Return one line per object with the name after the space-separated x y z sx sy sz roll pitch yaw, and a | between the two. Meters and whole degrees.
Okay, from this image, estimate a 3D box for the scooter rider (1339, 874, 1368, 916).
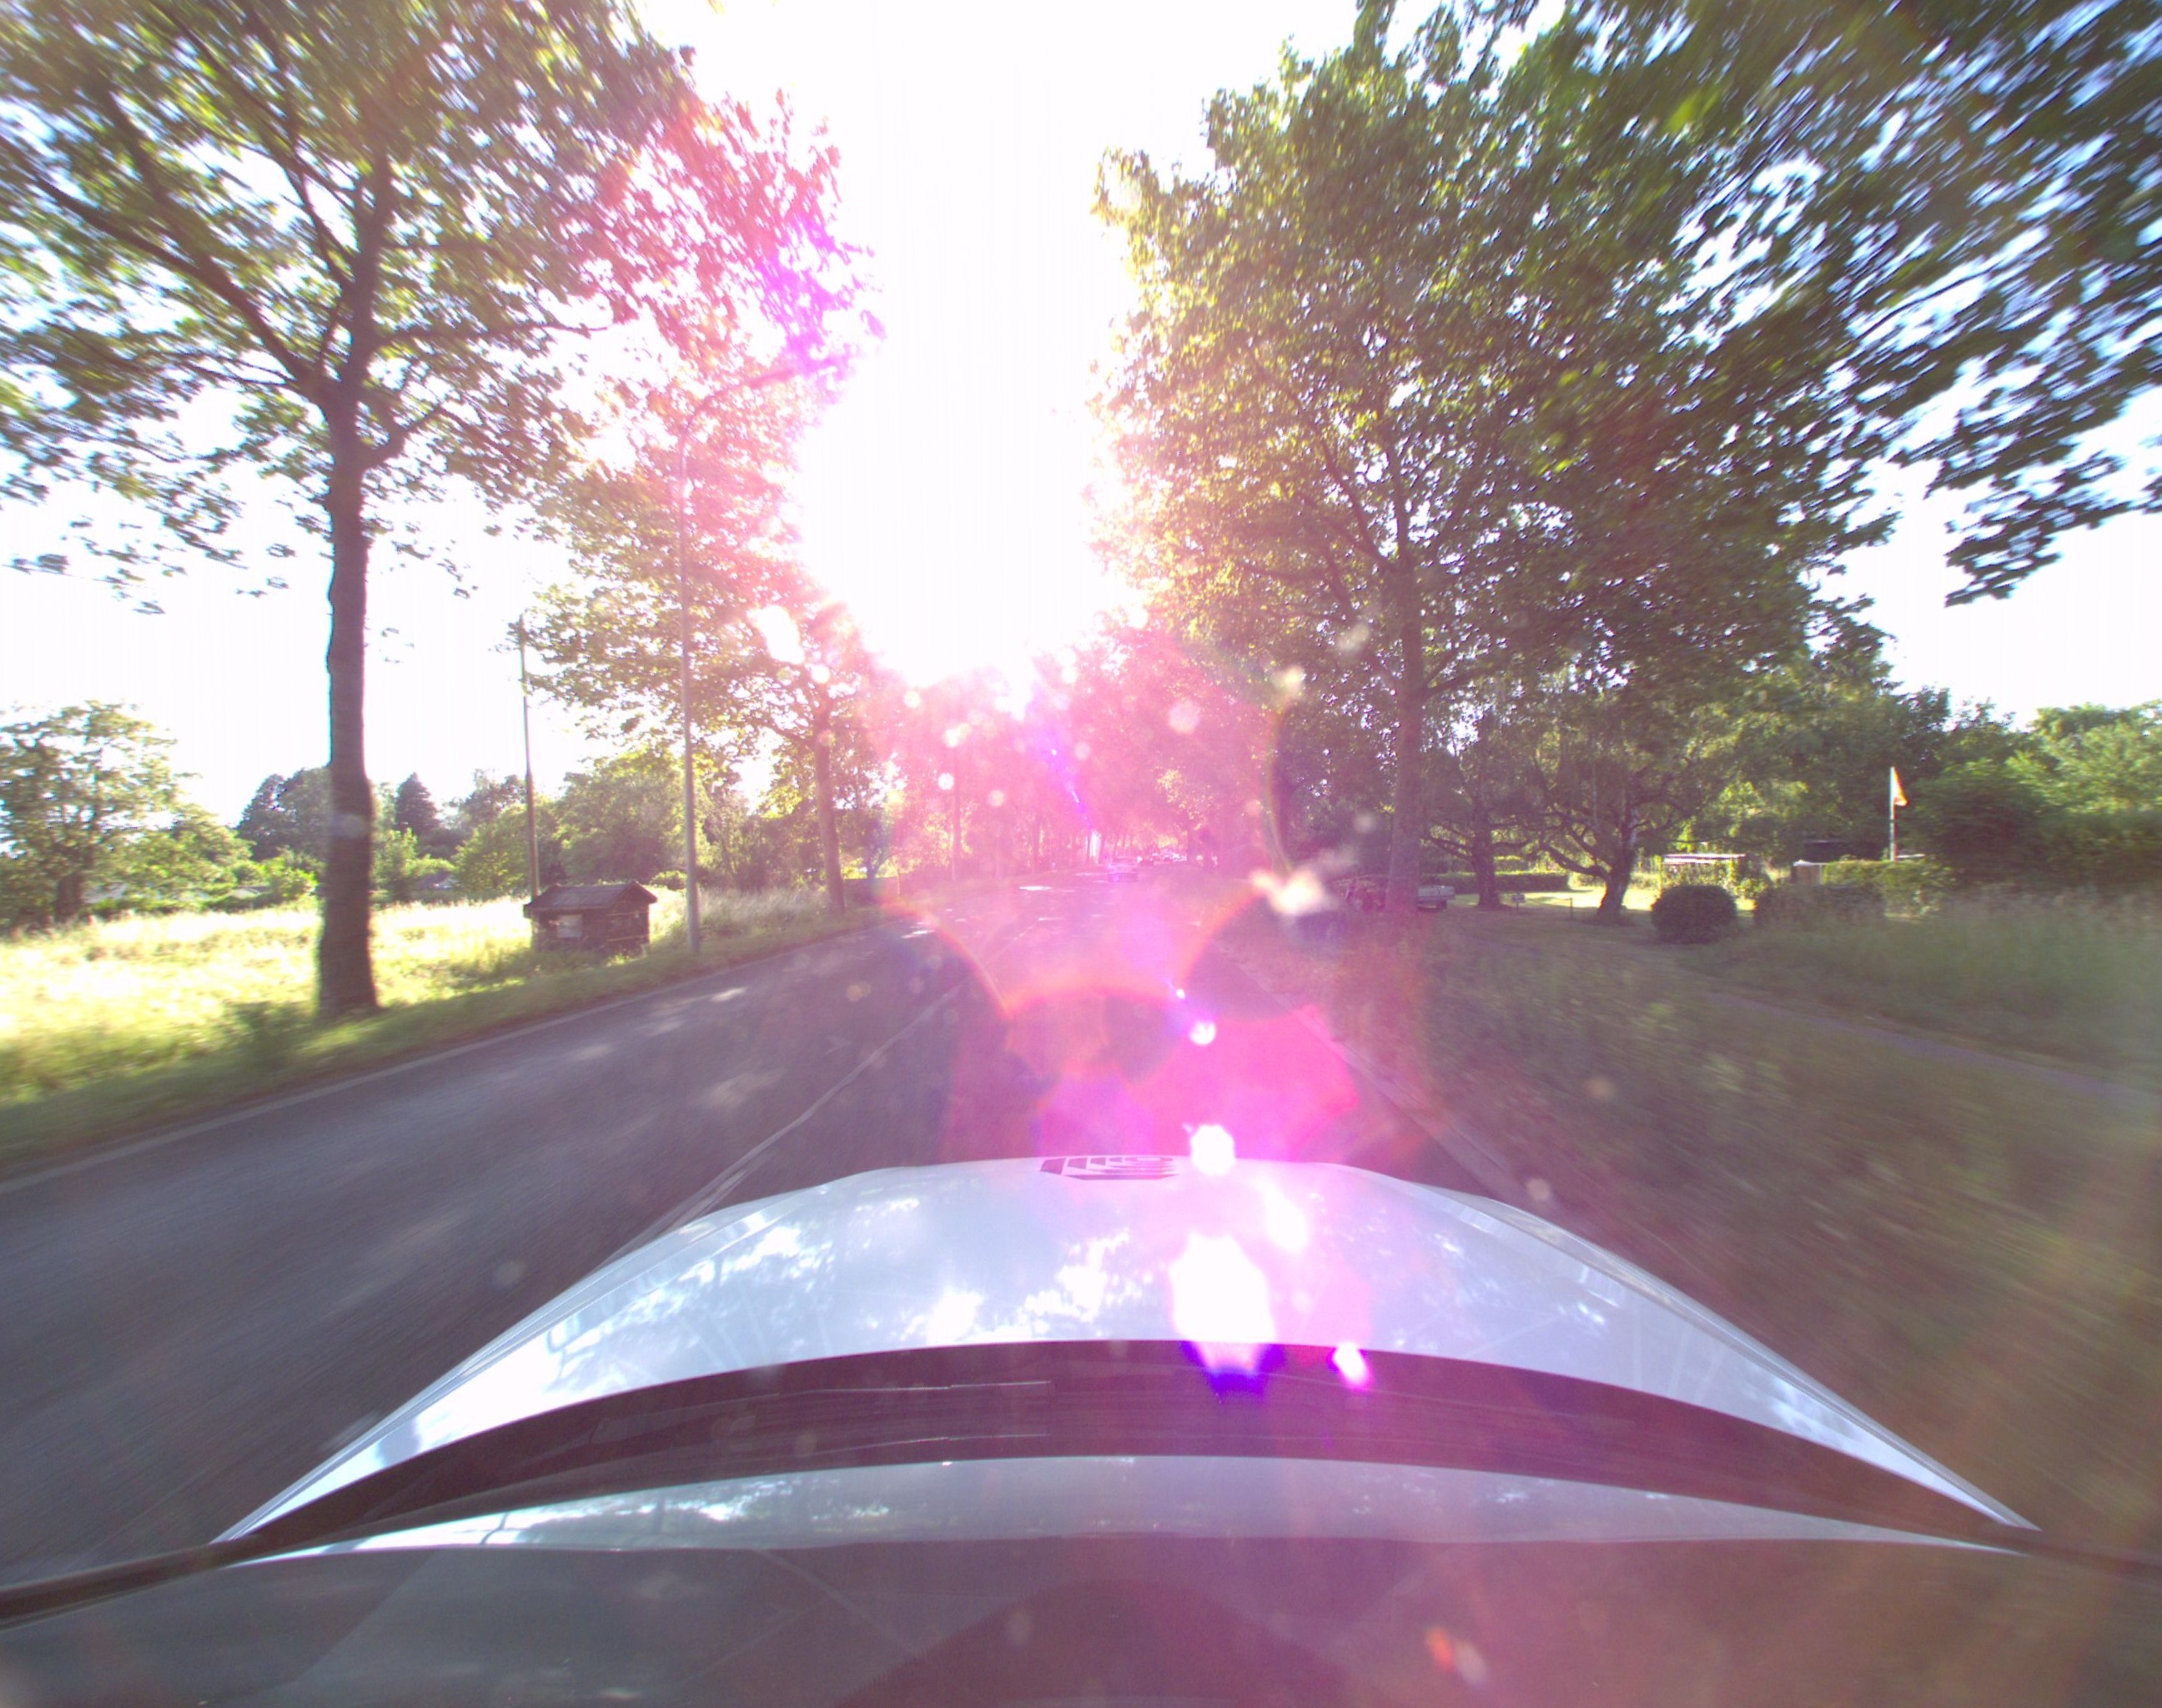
10.451 1.562 31.236 0.775 1.576 0.850 -2 -1 42 | scooter rider

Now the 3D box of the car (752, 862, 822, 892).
-19.842 1.552 55.022 3.959 2.014 2.007 -1 -1 13 | car

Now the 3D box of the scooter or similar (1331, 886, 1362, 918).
10.149 1.830 31.123 1.608 1.135 0.337 0 -1 -42 | scooter or similar

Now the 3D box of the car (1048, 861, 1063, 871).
-3.619 1.738 116.545 1.744 1.304 4.005 -3 0 4 | car

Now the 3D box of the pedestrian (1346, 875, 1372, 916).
10.953 1.608 32.092 0.774 1.576 0.850 -1 -1 33 | pedestrian

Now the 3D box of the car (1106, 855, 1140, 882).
2.597 0.894 49.943 1.985 1.574 4.003 -1 -1 3 | car

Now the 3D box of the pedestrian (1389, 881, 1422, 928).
11.202 1.724 28.168 0.837 1.576 1.210 -1 -1 11 | pedestrian

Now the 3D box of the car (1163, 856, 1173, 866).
17.502 1.407 163.822 1.983 2.014 4.006 -1 -1 6 | car

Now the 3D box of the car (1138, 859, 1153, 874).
8.911 1.685 112.077 1.984 2.014 4.006 -1 -1 5 | car

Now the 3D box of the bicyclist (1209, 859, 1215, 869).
17.776 1.370 110.558 0.733 1.366 0.769 0 -1 -6 | bicyclist

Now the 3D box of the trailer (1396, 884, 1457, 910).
14.587 1.827 34.452 2.106 1.052 1.203 -1 -1 7 | trailer
